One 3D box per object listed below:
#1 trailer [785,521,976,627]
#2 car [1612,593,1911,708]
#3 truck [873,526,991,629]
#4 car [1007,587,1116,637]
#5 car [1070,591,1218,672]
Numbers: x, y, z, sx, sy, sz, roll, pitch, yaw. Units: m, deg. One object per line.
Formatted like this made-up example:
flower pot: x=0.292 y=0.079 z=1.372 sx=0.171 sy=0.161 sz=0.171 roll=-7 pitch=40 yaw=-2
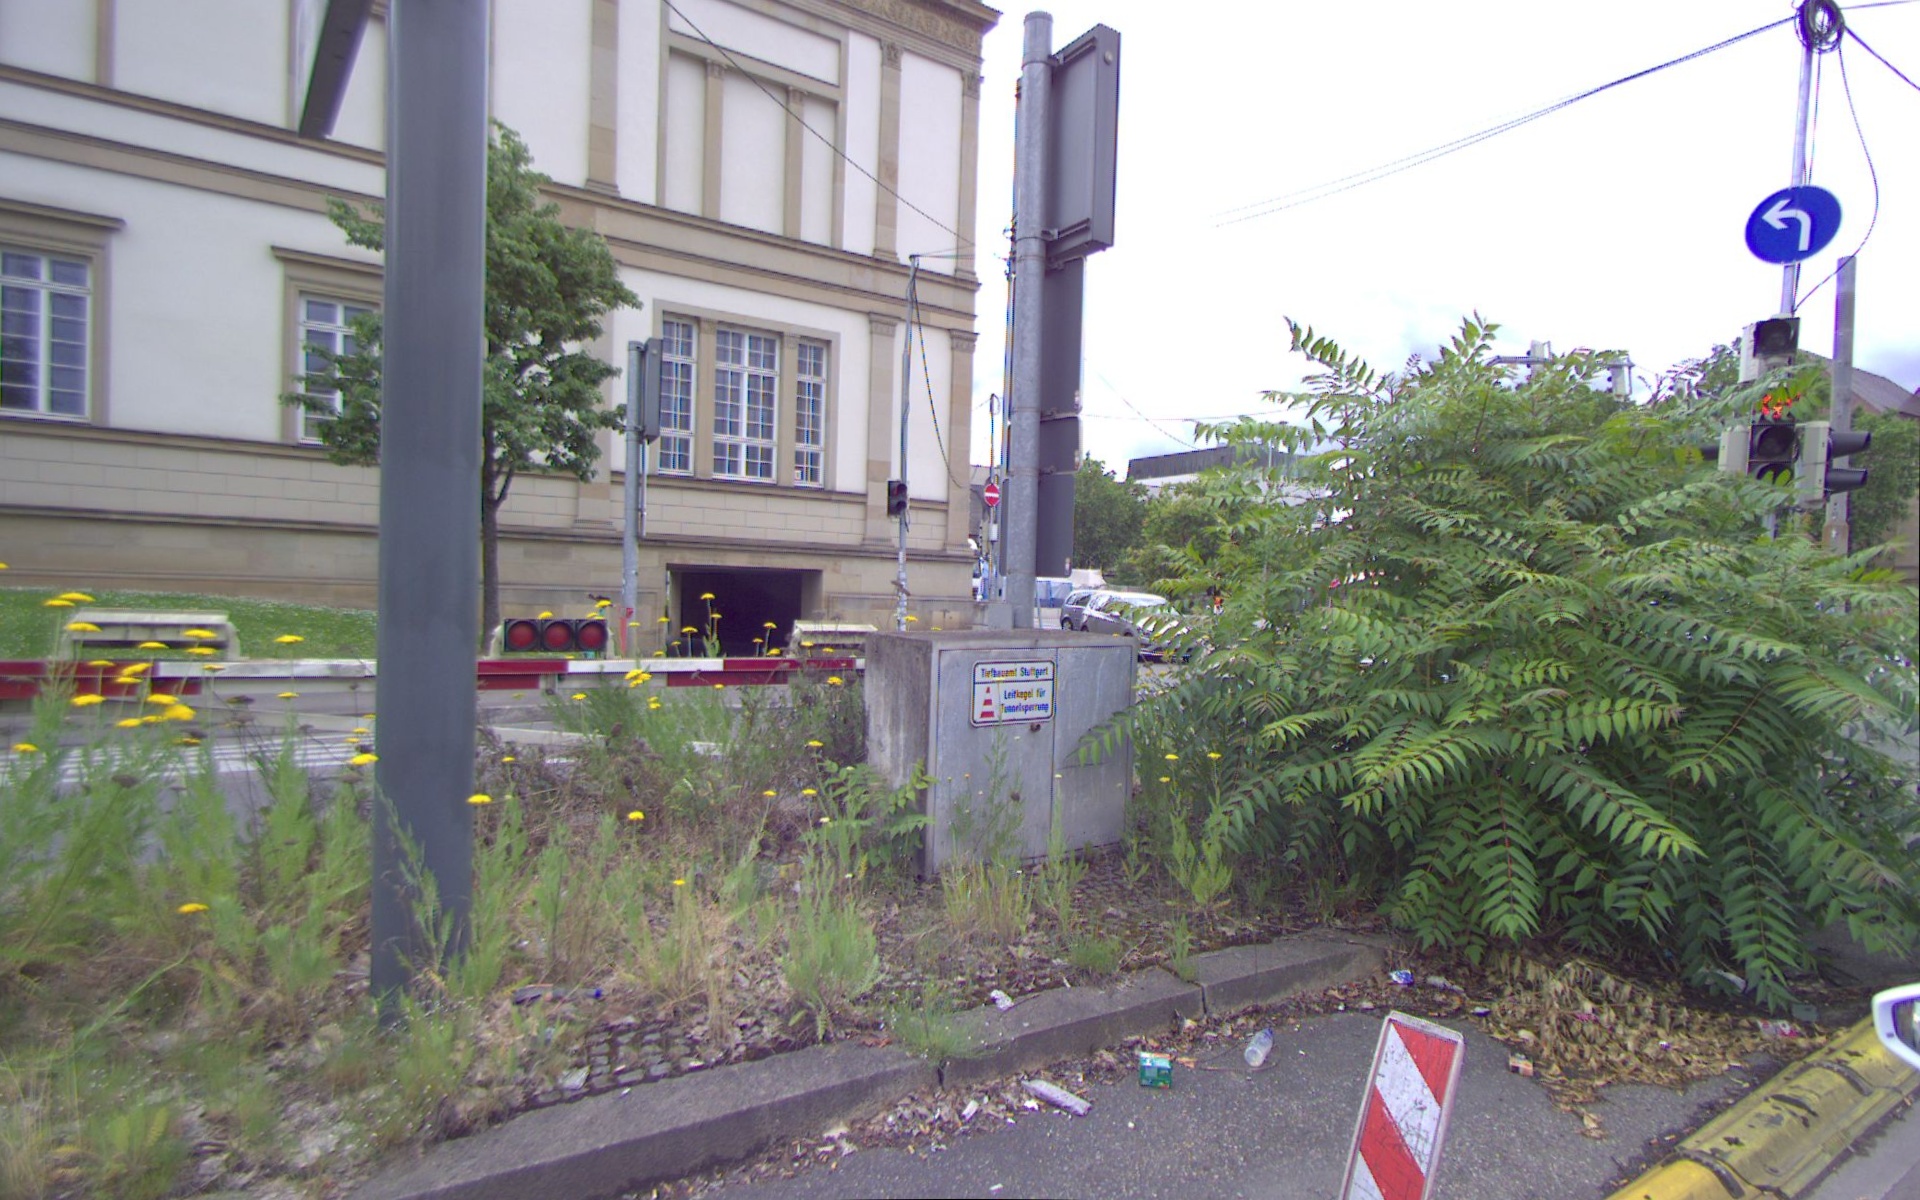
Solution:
trailer: x=-4.266 y=-1.145 z=48.165 sx=2.916 sy=4.338 sz=13.662 roll=2 pitch=0 yaw=-33
car: x=15.247 y=0.865 z=19.290 sx=1.817 sy=1.907 sz=4.228 roll=2 pitch=0 yaw=-42
truck: x=-1.273 y=-0.923 z=43.555 sx=2.915 sy=4.118 sz=4.846 roll=2 pitch=0 yaw=-34
car: x=3.560 y=0.395 z=35.836 sx=1.810 sy=1.646 sz=4.032 roll=2 pitch=0 yaw=-31
car: x=4.397 y=0.695 z=24.630 sx=1.810 sy=1.769 sz=3.981 roll=1 pitch=1 yaw=-20
